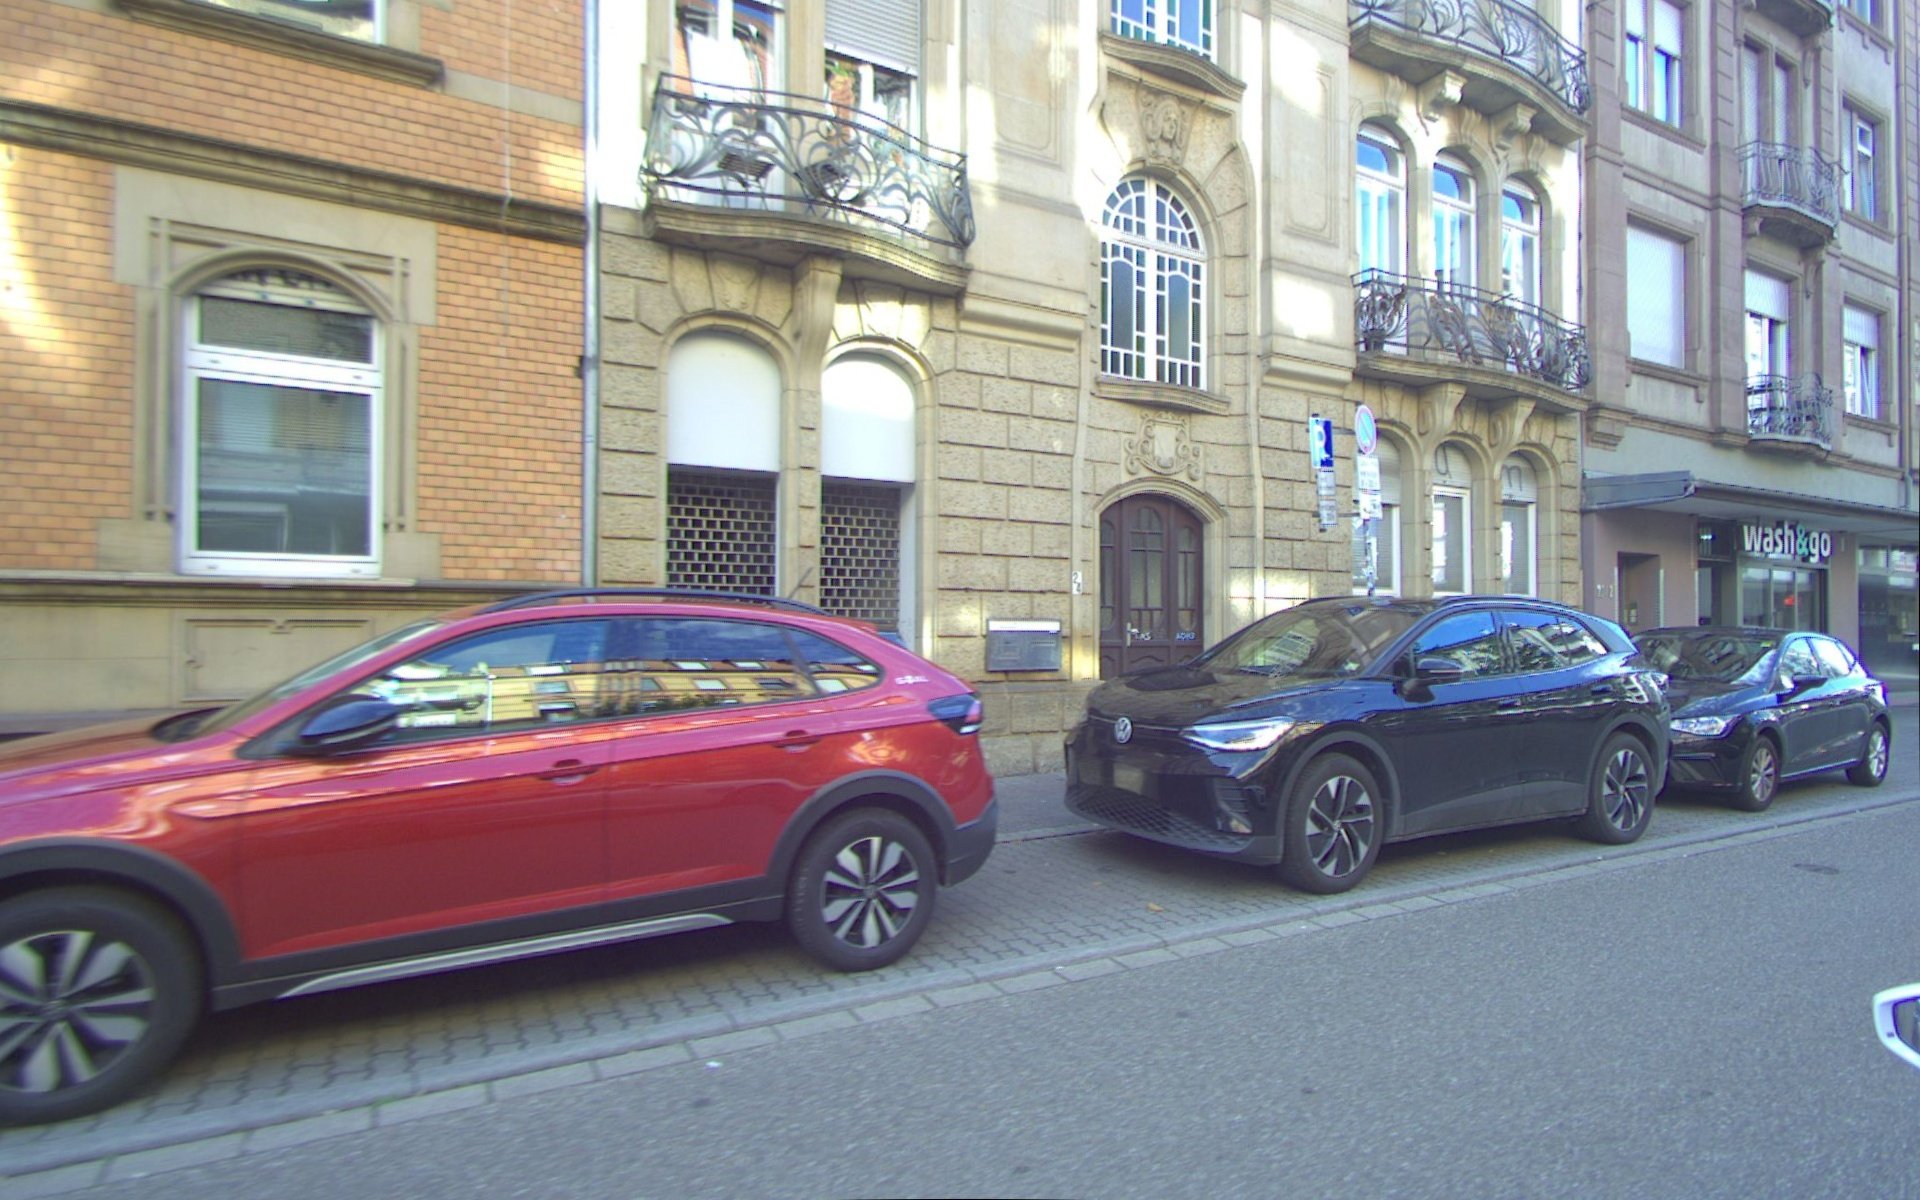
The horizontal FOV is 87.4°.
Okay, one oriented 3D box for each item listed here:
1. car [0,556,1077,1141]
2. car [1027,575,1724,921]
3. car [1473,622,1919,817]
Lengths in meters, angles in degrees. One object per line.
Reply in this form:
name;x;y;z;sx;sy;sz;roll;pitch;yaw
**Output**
car;-1.849;0.721;4.271;4.375;1.565;1.984;2;-2;-30
car;2.939;0.785;6.778;4.789;1.650;1.783;2;-2;-29
car;7.001;0.947;9.387;4.194;1.439;1.984;1;-2;-30
